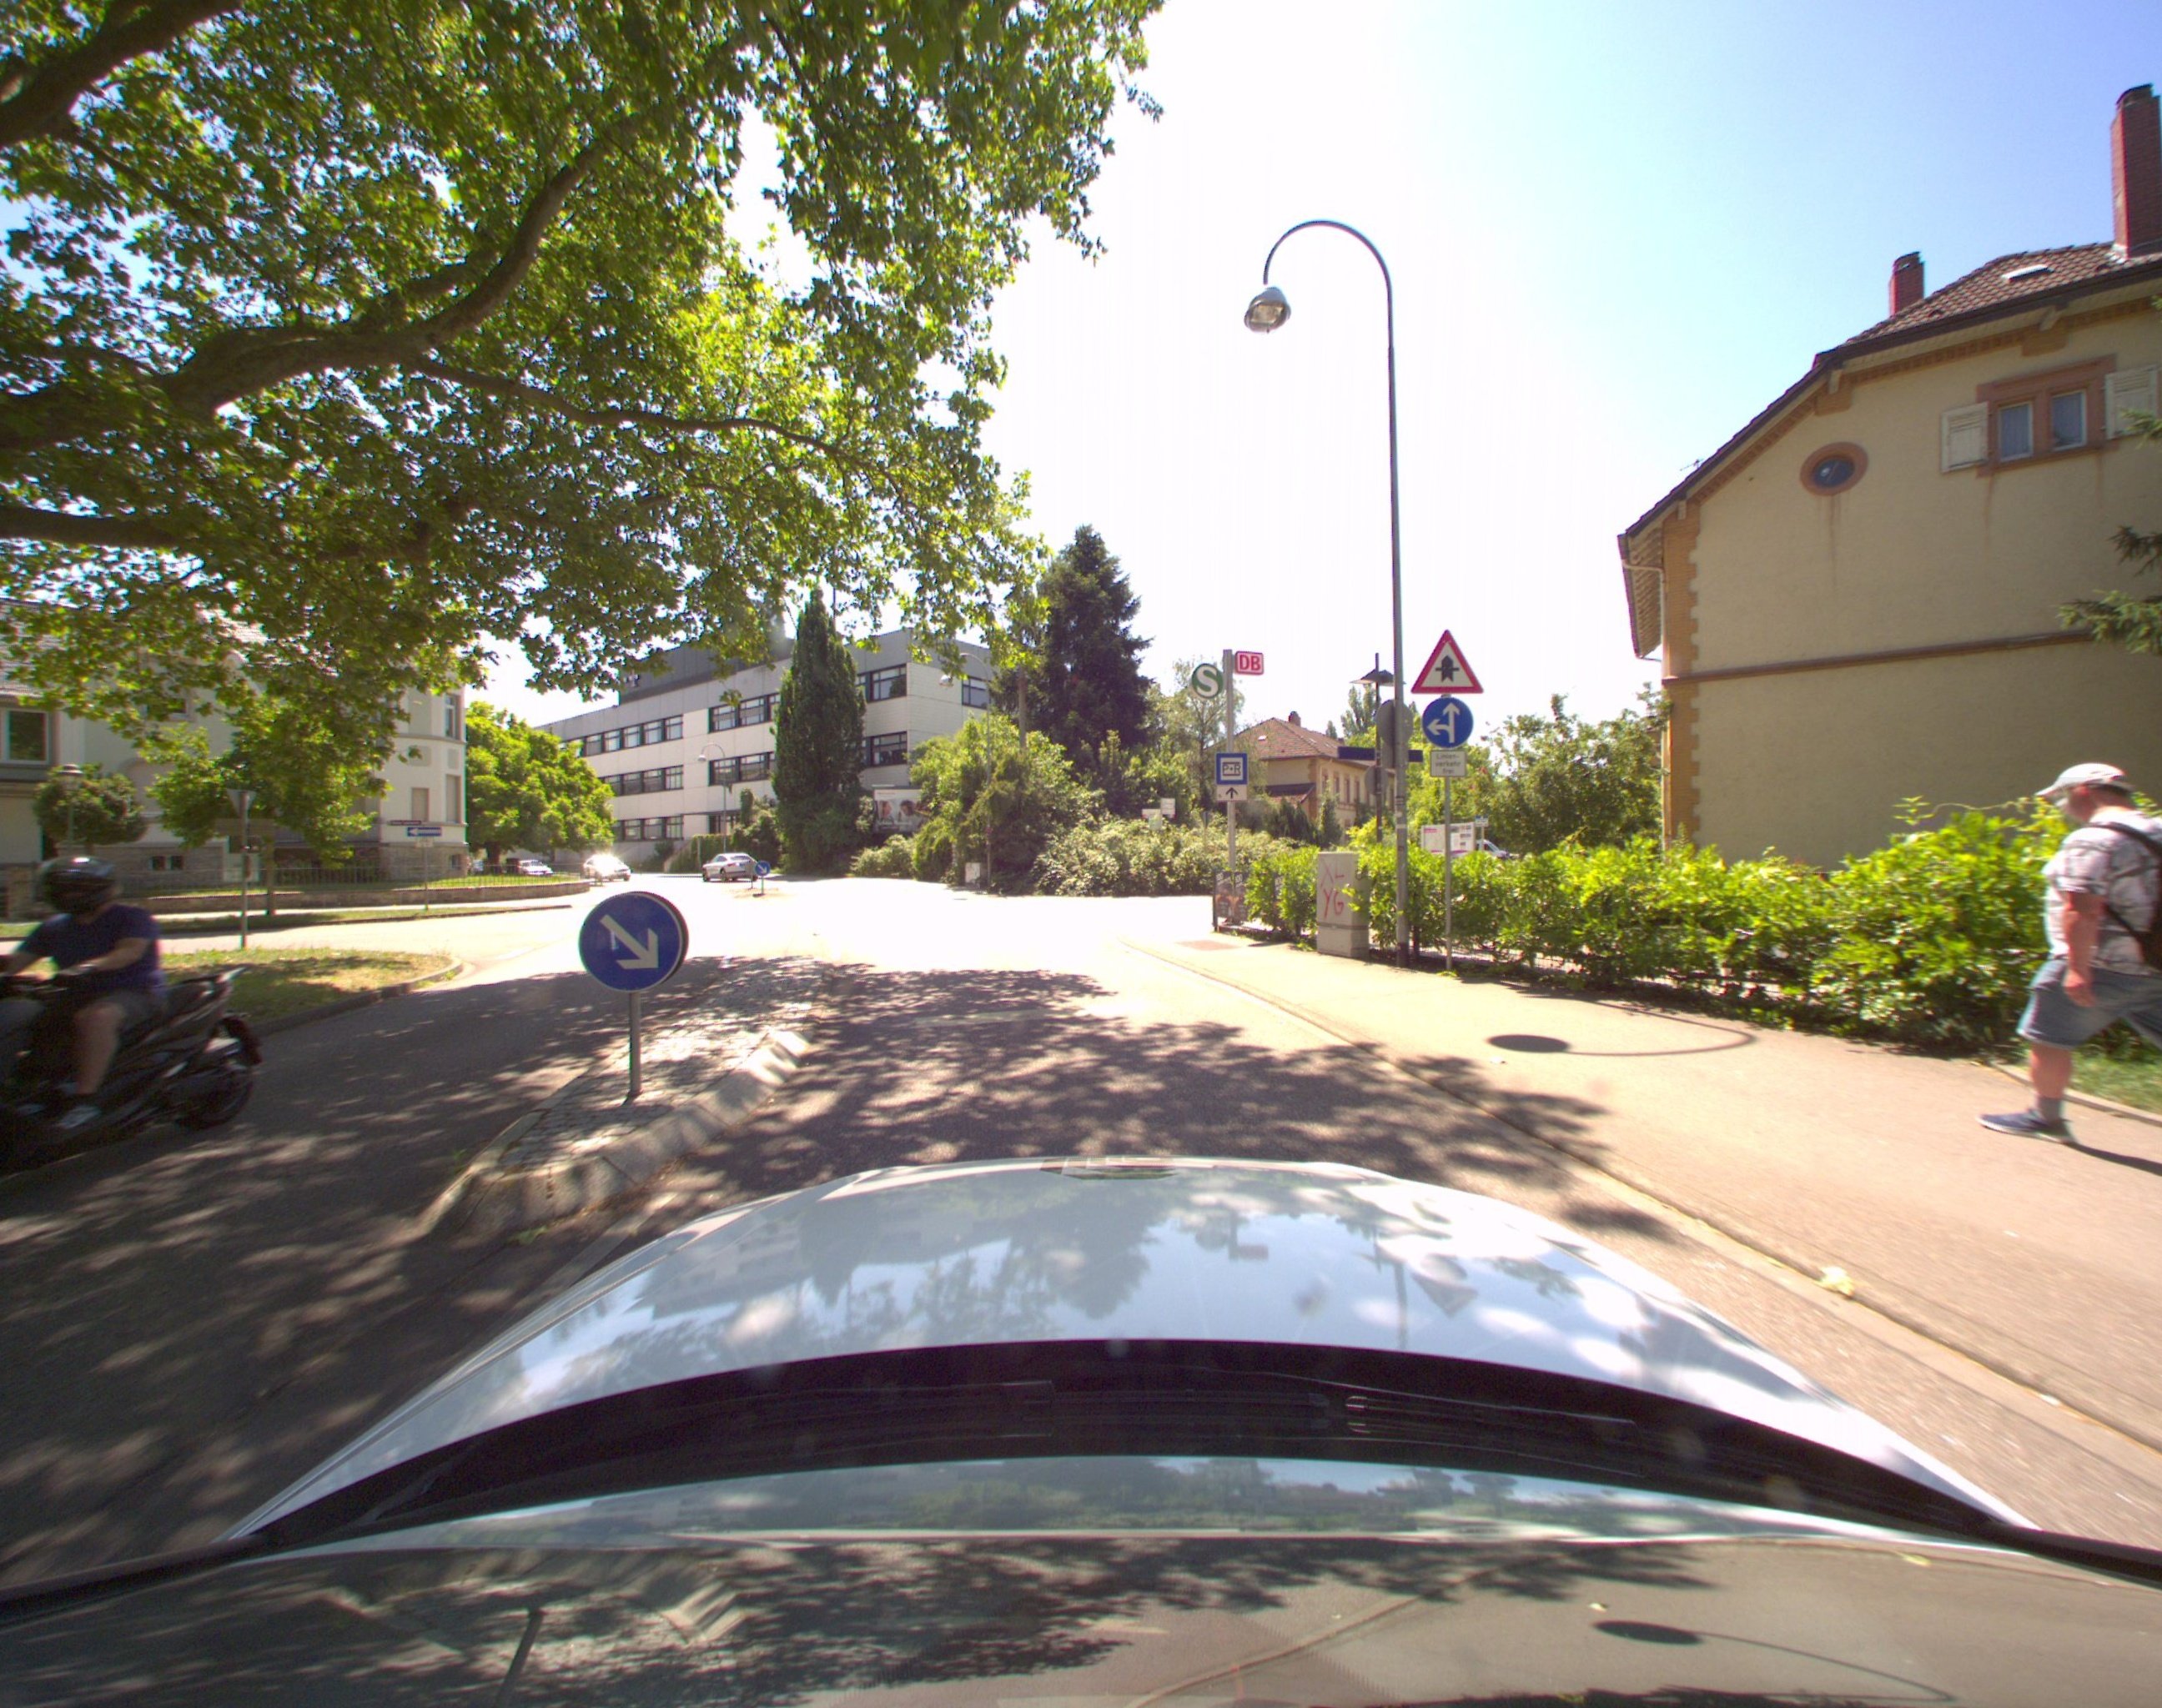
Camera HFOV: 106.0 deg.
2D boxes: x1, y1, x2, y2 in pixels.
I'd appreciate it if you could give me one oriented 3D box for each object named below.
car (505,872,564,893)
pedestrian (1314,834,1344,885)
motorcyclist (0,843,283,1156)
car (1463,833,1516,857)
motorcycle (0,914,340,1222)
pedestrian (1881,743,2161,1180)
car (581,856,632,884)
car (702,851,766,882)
[{"bbox_3d":[-41.039,2.129,61.119,4.250,1.435,1.775,-2,1,27],"label":"car"},{"bbox_3d":[8.058,0.175,26.472,0.617,1.627,0.696,-1,2,-20],"label":"pedestrian"},{"bbox_3d":[-5.435,0.726,4.602,0.807,1.555,1.101,-1,0,-9],"label":"motorcyclist"},{"bbox_3d":[41.660,-0.876,83.147,4.401,2.322,2.216,-1,0,40],"label":"car"},{"bbox_3d":[-5.418,1.045,4.599,0.807,1.231,2.044,-1,0,-9],"label":"motorcycle"},{"bbox_3d":[4.640,0.424,3.791,0.910,1.772,0.914,-1,0,-3],"label":"pedestrian"},{"bbox_3d":[-30.513,1.009,52.316,1.889,1.623,4.252,-3,2,-43],"label":"car"},{"bbox_3d":[-20.088,0.673,47.064,1.953,1.614,4.417,-2,2,-44],"label":"car"}]
